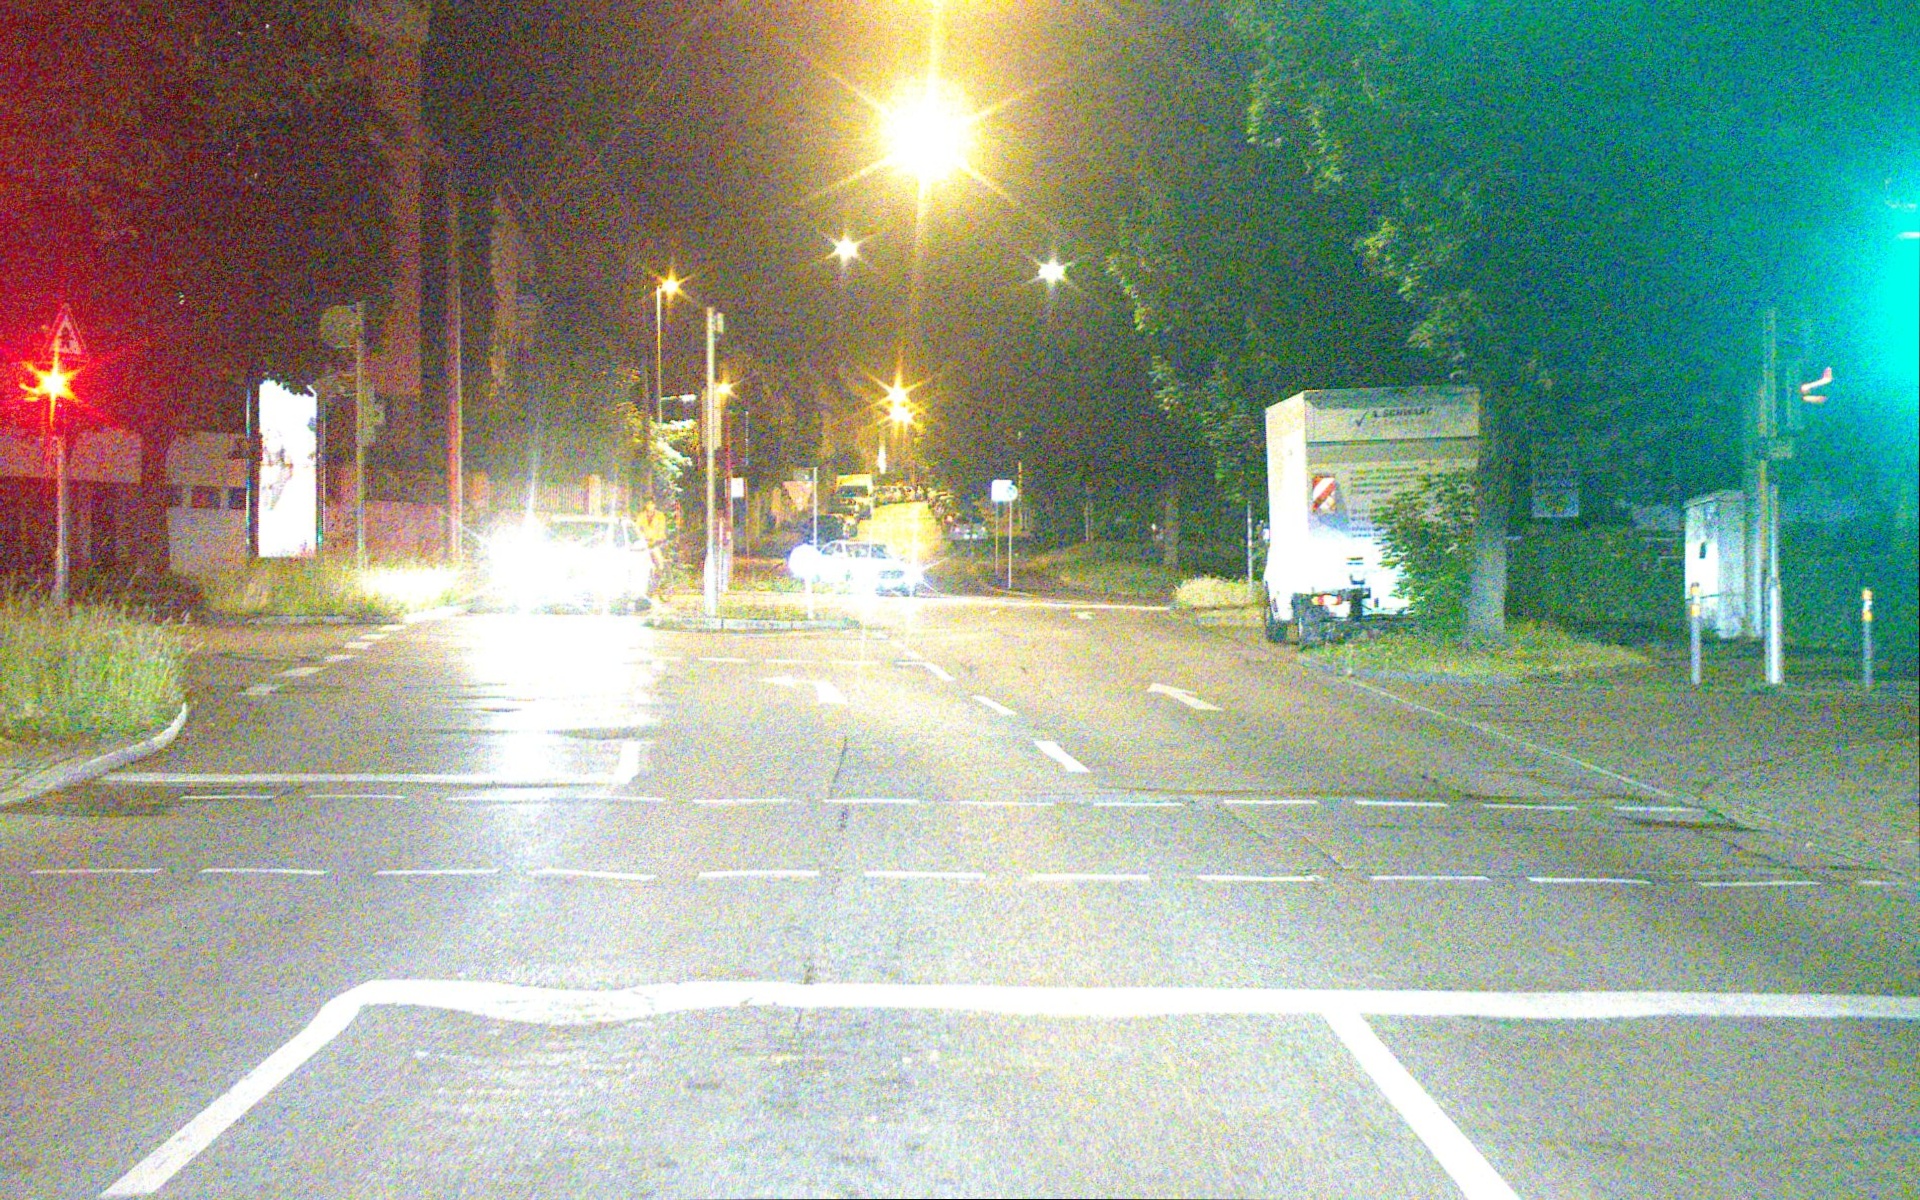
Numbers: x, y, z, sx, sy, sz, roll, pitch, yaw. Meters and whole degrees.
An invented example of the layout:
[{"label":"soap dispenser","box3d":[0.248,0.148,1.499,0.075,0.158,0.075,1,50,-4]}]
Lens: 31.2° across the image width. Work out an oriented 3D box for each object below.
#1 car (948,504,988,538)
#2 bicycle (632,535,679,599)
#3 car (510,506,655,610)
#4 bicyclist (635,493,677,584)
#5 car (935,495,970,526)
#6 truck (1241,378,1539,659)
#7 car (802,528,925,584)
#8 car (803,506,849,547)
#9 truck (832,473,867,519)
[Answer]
[{"label":"car","box3d":[0.345,-3.462,150.386,1.634,1.447,3.485,1,1,-1]},{"label":"bicycle","box3d":[-5.543,-0.609,62.715,0.696,1.145,1.951,1,1,-1]},{"label":"car","box3d":[-5.856,-0.684,53.700,1.857,1.529,4.028,1,1,-1]},{"label":"bicyclist","box3d":[-5.537,-1.124,62.659,0.690,1.631,0.896,1,1,-1]},{"label":"car","box3d":[-0.377,-4.309,166.319,1.634,1.447,3.485,1,1,-1]},{"label":"truck","box3d":[5.070,-0.984,41.614,2.749,3.100,6.259,1,1,0]},{"label":"car","box3d":[-2.604,-1.187,91.351,1.916,1.384,4.584,0,1,-20]},{"label":"car","box3d":[-5.506,-3.045,141.757,1.815,1.678,4.000,0,1,-1]},{"label":"truck","box3d":[-6.968,-6.538,216.594,2.086,2.838,5.832,1,1,-2]}]
